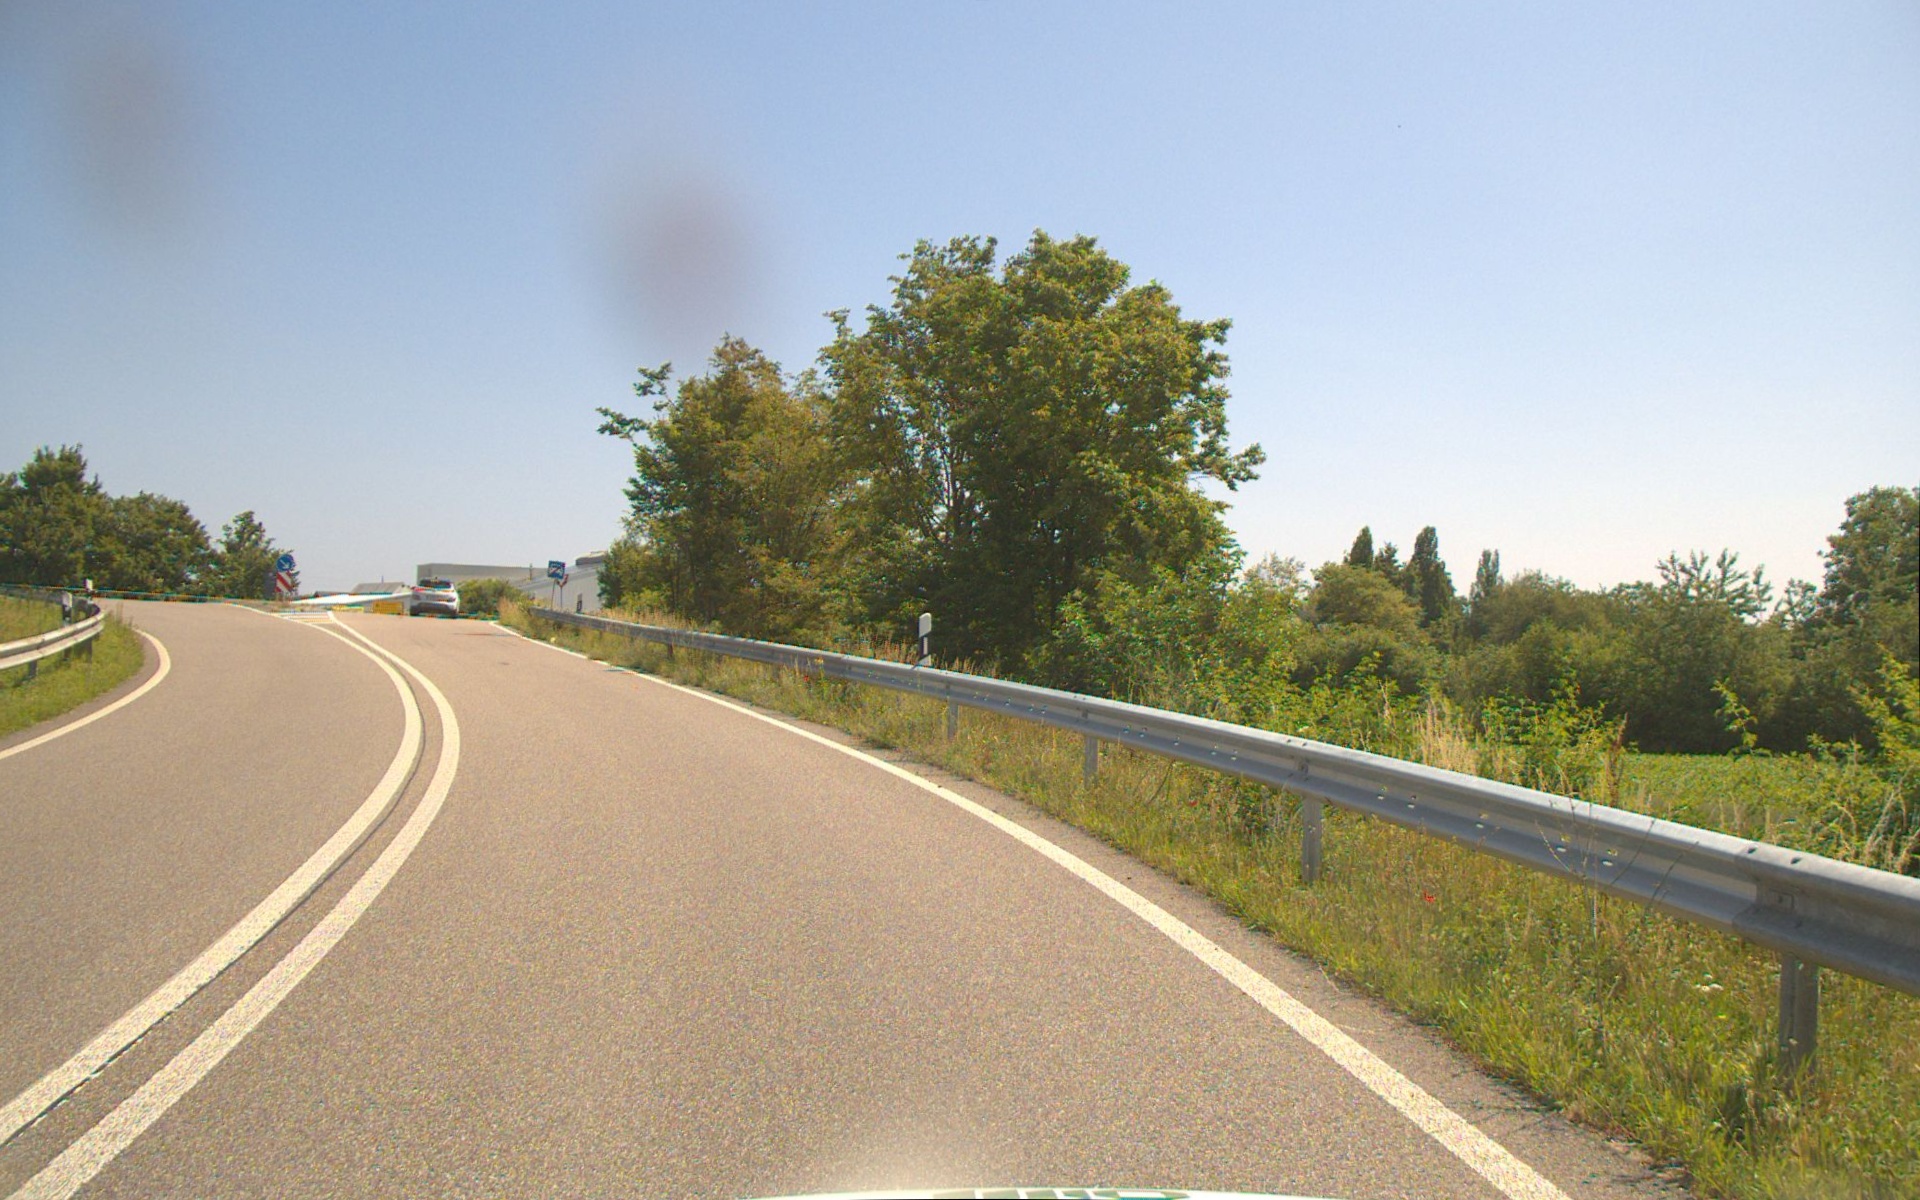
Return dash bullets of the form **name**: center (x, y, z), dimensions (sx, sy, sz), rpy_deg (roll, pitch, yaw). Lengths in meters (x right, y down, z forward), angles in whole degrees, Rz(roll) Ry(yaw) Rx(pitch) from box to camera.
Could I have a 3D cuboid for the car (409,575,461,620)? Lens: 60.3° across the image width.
- **car**: center (-21.139, -0.068, 66.701), dimensions (1.778, 1.721, 3.984), rpy_deg (1, -1, -15)
